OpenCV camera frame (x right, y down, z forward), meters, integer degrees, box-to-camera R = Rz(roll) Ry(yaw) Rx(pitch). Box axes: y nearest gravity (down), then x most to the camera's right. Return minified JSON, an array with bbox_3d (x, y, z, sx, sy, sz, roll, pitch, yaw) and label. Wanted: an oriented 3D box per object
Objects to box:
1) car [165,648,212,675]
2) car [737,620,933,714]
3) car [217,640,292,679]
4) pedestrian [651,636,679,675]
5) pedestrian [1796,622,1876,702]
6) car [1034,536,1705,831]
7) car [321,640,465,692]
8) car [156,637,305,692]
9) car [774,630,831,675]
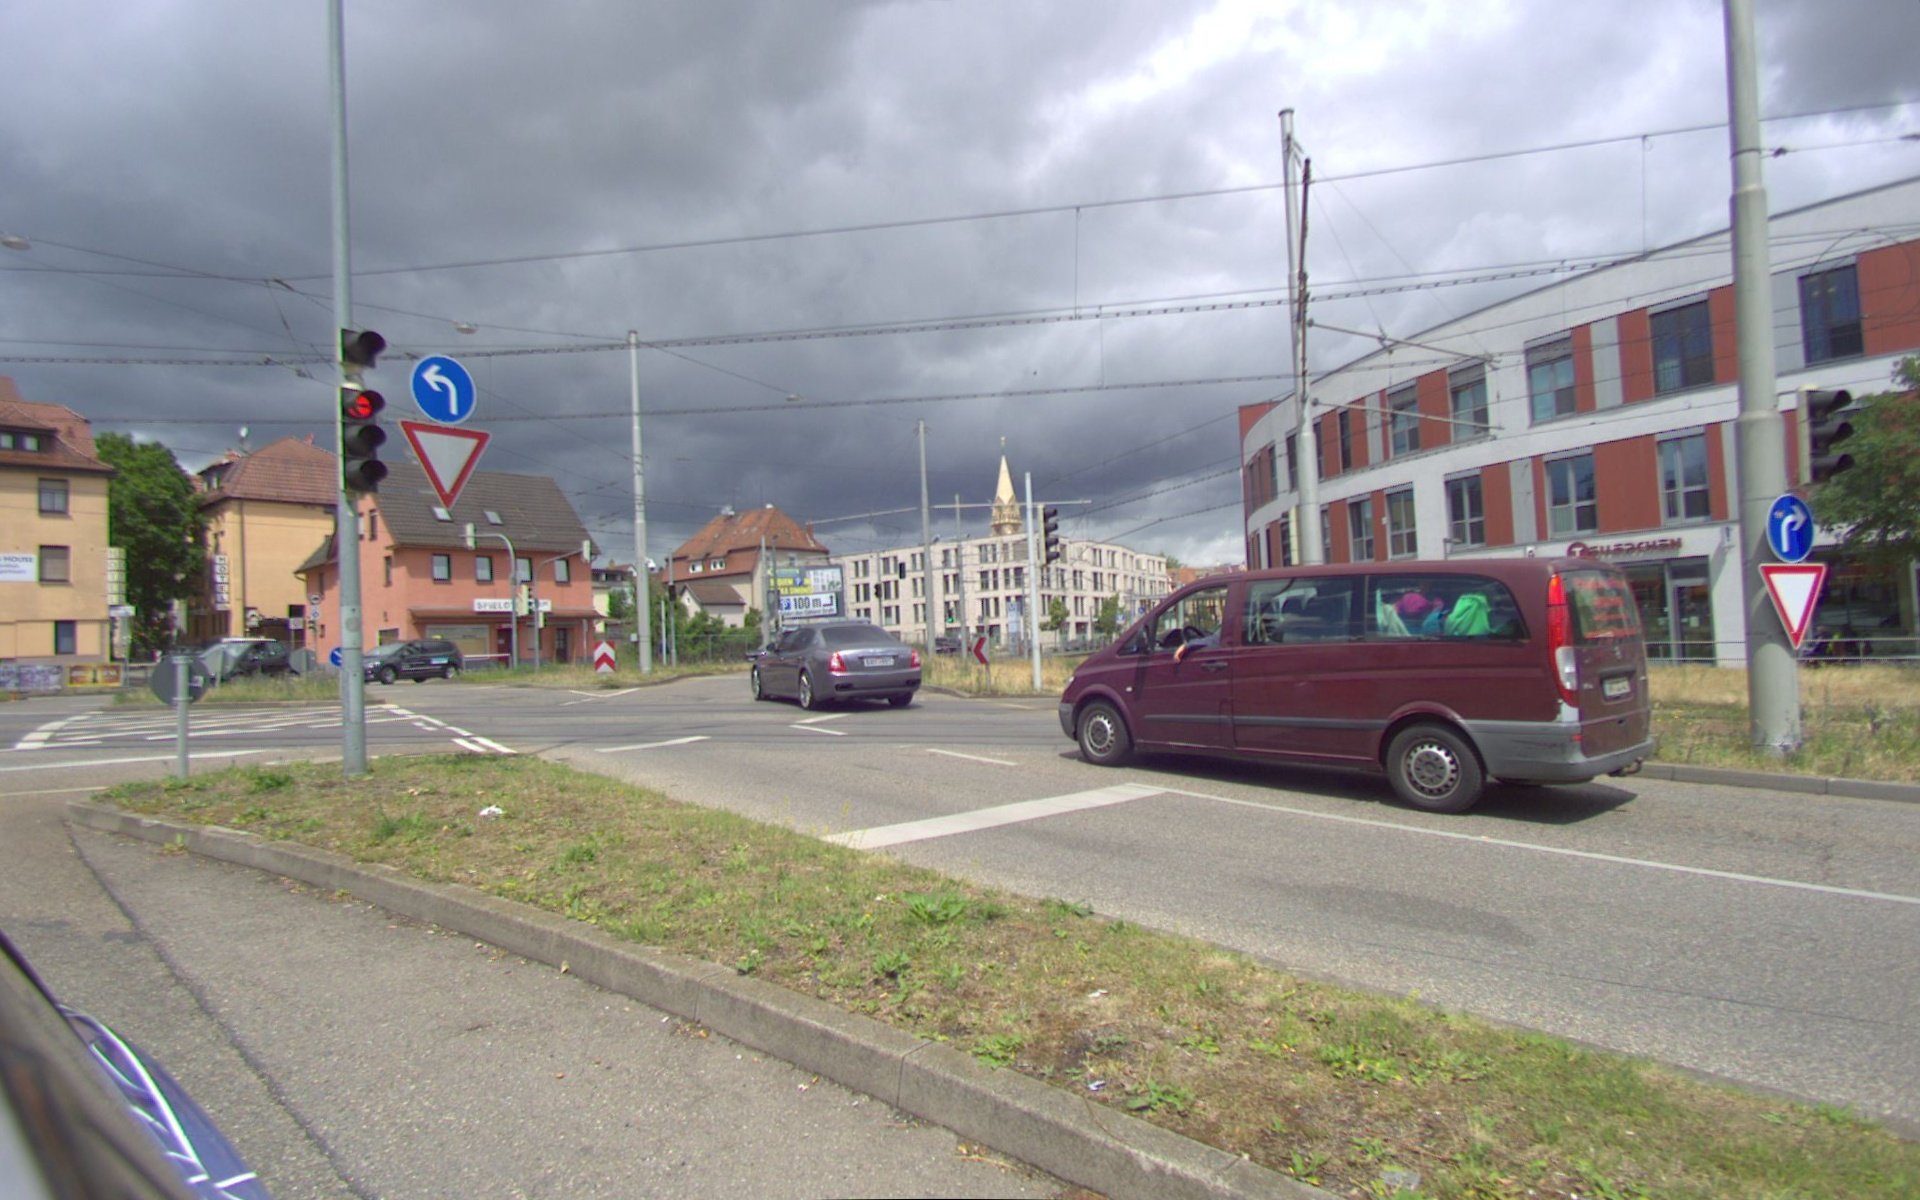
[{"bbox_3d":[-46.129,3.685,60.518,3.128,1.381,1.542,-6,-4,39],"label":"car"},{"bbox_3d":[-2.398,1.085,17.989,1.772,1.421,5.068,0,-2,-28],"label":"car"},{"bbox_3d":[-37.419,3.146,53.627,4.657,1.912,2.054,-4,-2,39],"label":"car"},{"bbox_3d":[-16.830,3.144,57.706,1.052,2.164,1.112,-4,-4,43],"label":"pedestrian"},{"bbox_3d":[22.936,1.609,26.506,1.236,2.029,1.143,0,-3,-30],"label":"pedestrian"},{"bbox_3d":[3.164,0.576,8.868,1.969,1.836,5.079,0,-1,-41],"label":"car"},{"bbox_3d":[-20.780,2.390,37.317,1.986,1.662,4.389,-4,-3,21],"label":"car"},{"bbox_3d":[-21.648,1.909,30.243,1.855,1.439,4.005,-3,-3,-6],"label":"car"},{"bbox_3d":[-6.019,1.982,39.019,1.784,1.592,4.300,-1,-2,-3],"label":"car"}]
